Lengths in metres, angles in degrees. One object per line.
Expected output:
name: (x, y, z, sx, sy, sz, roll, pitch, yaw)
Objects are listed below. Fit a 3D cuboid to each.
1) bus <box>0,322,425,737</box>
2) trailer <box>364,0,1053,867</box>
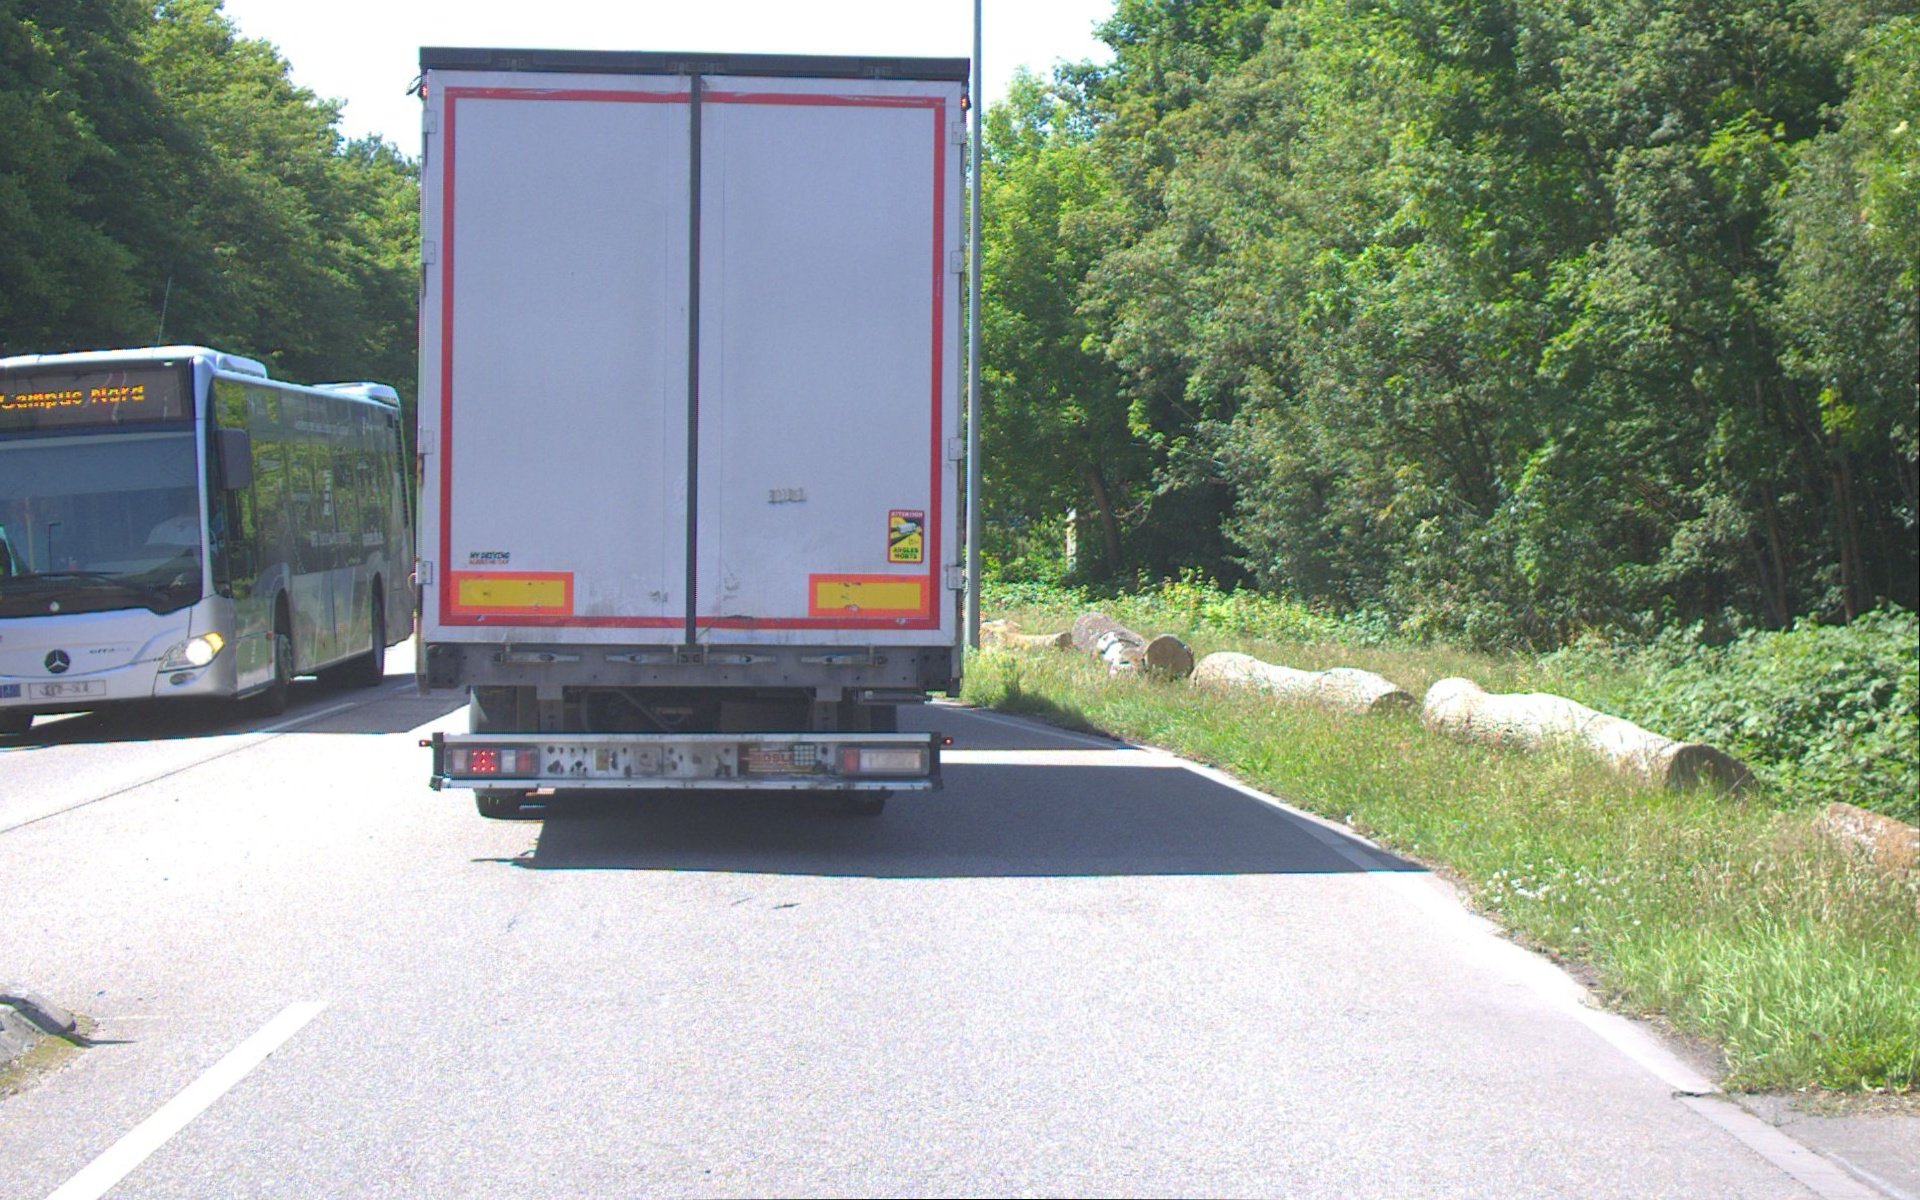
bus: (-7.105, -0.653, 31.821, 2.749, 3.035, 11.940, -3, 1, -2)
trailer: (-1.609, -0.951, 20.504, 3.076, 4.055, 9.811, 1, 1, -6)
